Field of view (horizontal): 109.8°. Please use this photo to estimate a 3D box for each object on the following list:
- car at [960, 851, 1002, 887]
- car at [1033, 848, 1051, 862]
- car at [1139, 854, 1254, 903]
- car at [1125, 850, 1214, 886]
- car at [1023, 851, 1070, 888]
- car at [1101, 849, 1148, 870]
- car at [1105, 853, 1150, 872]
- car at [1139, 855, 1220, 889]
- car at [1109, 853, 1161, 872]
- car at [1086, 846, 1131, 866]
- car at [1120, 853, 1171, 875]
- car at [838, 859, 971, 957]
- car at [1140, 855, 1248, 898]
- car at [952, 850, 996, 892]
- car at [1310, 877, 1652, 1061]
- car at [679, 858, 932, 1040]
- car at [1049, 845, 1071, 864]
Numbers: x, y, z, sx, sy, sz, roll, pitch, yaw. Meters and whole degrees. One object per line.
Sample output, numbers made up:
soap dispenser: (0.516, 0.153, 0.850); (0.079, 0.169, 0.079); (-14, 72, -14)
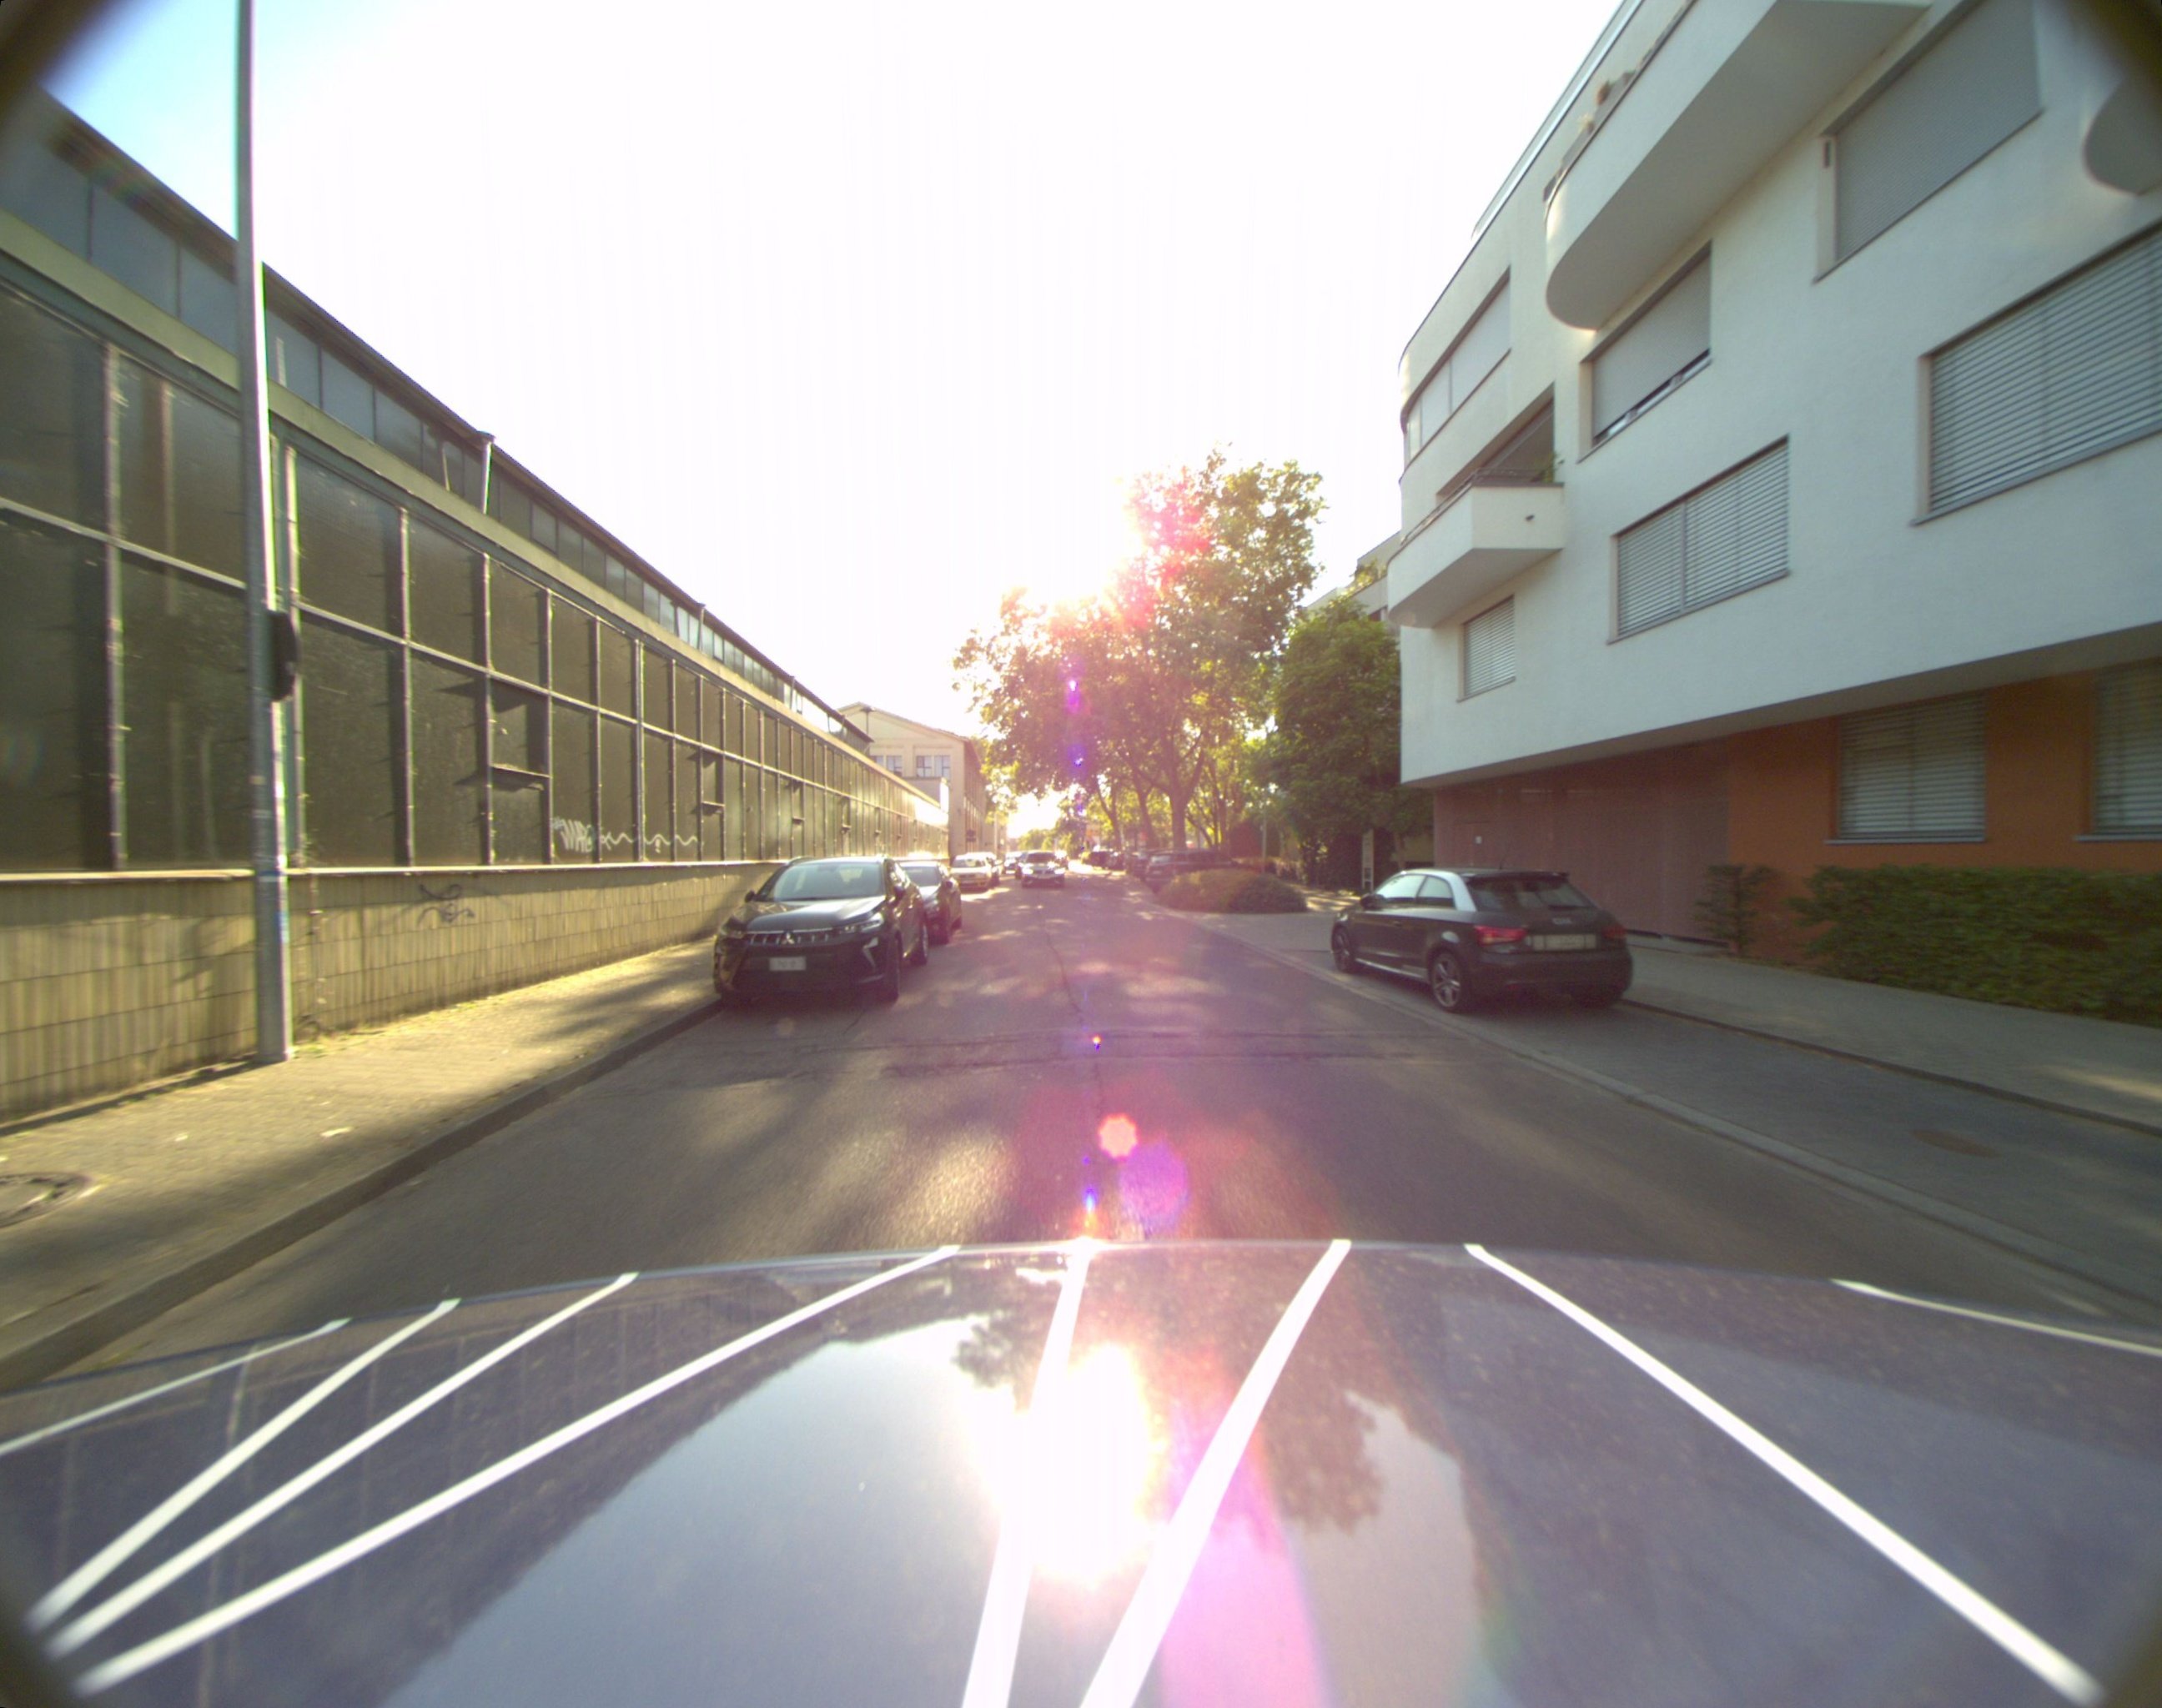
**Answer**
car: (-4.797, 0.669, 36.848); (1.755, 1.625, 4.307); (0, 1, -4)
car: (-4.535, 0.076, 87.669); (1.965, 1.633, 3.998); (0, 1, -4)
car: (4.227, 0.833, 27.669); (3.967, 1.653, 1.696); (0, 1, -32)
car: (4.639, 0.675, 39.753); (4.276, 1.765, 1.902); (0, 1, -27)
car: (-1.619, 0.659, 34.329); (1.855, 1.527, 3.854); (-1, 1, -6)
car: (4.046, 0.478, 70.620); (4.004, 1.871, 1.830); (0, 1, -20)
car: (4.135, 0.746, 67.773); (3.604, 1.552, 1.647); (0, 1, -22)
car: (4.812, 0.852, 37.085); (3.656, 1.552, 1.696); (0, 1, -29)
car: (4.638, 0.716, 65.464); (4.003, 1.615, 1.795); (1, 1, -19)
car: (2.685, 0.130, 73.064); (4.006, 1.875, 1.713); (0, 1, -30)
car: (5.019, 0.744, 59.125); (3.656, 1.652, 1.646); (0, 1, -30)
car: (-3.243, 0.902, 14.819); (1.755, 1.482, 4.619); (-1, 1, -4)
car: (4.641, 0.875, 31.182); (4.146, 1.631, 1.773); (0, 1, -28)
car: (-4.530, 0.674, 32.533); (1.756, 1.625, 3.998); (0, 1, -6)
car: (4.146, 1.078, 8.634); (1.679, 1.425, 3.768); (-1, 1, -5)
car: (-2.984, 0.888, 9.283); (1.812, 1.578, 4.402); (-1, 1, -5)
car: (-1.890, 0.036, 70.159); (1.904, 1.527, 4.621); (3, 0, 0)
